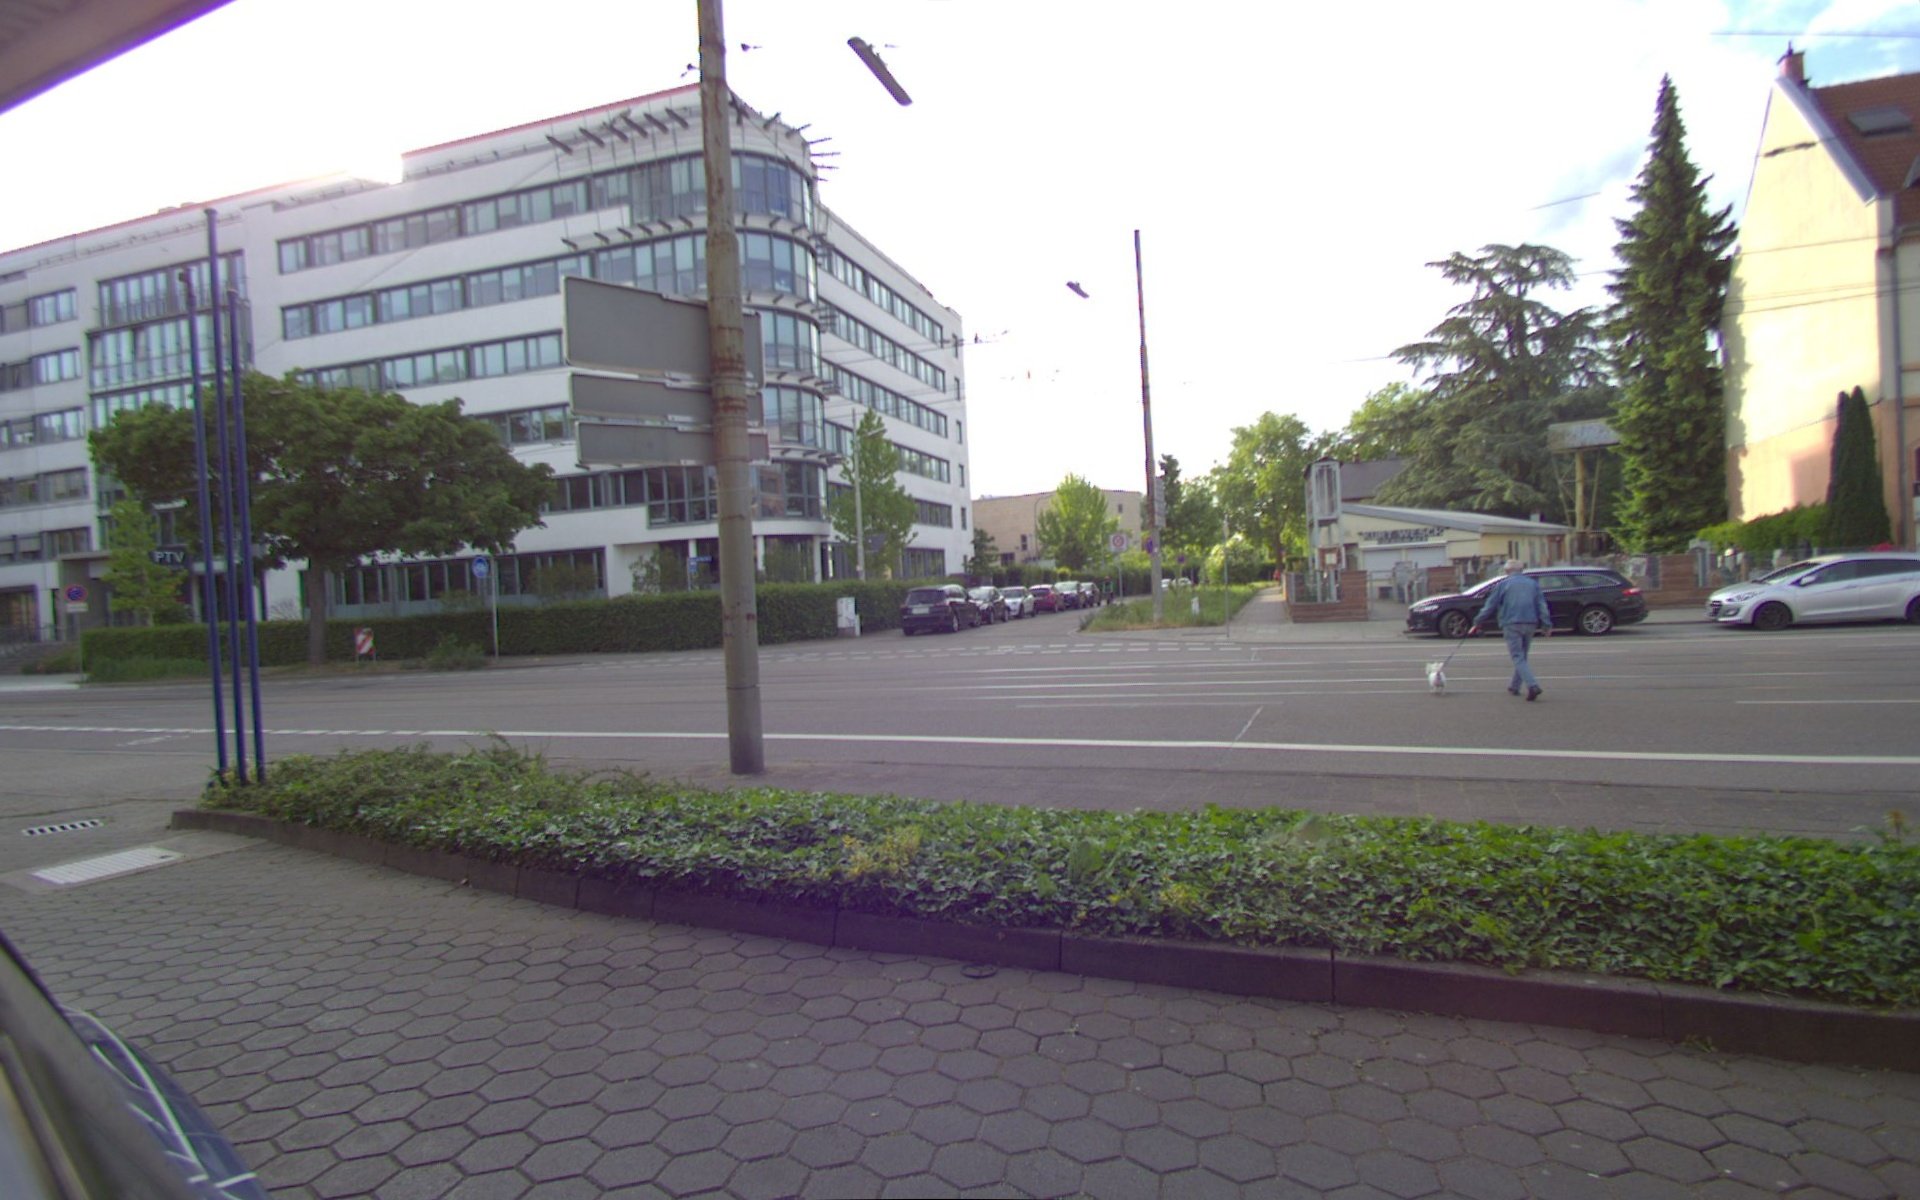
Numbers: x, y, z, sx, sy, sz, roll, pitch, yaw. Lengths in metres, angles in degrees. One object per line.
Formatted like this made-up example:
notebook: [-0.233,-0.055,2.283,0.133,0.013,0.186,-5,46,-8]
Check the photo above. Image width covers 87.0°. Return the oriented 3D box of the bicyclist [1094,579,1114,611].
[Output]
bicyclist: [7.733,-0.256,54.256,0.858,1.617,1.024,-3,3,15]

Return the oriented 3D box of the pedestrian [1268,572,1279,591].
pedestrian: [31.692,-1.890,102.299,0.899,1.865,0.942,-3,-1,20]

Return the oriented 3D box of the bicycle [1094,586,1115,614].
bicycle: [7.775,0.002,54.350,0.858,1.320,1.910,-3,3,15]

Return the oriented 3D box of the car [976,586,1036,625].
car: [2.136,0.211,45.782,1.929,1.530,4.274,-3,0,13]

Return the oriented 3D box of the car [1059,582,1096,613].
car: [7.285,-0.164,62.490,1.731,1.748,4.030,-3,0,13]

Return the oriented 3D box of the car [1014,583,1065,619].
car: [4.170,0.019,52.488,1.929,1.650,4.274,-3,0,13]

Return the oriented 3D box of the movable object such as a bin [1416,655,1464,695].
movable object such as a bin: [6.102,0.946,12.881,0.477,0.424,0.675,-2,2,21]

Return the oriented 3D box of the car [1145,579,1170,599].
car: [19.699,-1.091,100.786,1.849,1.748,4.247,-3,1,19]

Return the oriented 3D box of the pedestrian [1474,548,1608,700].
pedestrian: [6.914,0.260,12.103,0.991,1.680,0.970,-4,2,5]

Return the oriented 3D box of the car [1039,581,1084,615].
car: [5.830,-0.154,57.717,1.929,1.748,4.512,-3,0,13]

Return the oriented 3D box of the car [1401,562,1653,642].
car: [12.902,0.052,23.438,4.742,1.511,2.001,-3,1,21]

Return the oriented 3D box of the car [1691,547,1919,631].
car: [18.413,-0.248,21.376,4.424,1.494,1.713,-3,1,21]

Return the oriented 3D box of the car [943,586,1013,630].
car: [0.787,0.288,40.972,1.929,1.551,4.274,-3,0,13]

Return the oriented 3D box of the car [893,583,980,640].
car: [-0.733,0.358,35.412,1.994,1.704,4.274,-3,1,13]
